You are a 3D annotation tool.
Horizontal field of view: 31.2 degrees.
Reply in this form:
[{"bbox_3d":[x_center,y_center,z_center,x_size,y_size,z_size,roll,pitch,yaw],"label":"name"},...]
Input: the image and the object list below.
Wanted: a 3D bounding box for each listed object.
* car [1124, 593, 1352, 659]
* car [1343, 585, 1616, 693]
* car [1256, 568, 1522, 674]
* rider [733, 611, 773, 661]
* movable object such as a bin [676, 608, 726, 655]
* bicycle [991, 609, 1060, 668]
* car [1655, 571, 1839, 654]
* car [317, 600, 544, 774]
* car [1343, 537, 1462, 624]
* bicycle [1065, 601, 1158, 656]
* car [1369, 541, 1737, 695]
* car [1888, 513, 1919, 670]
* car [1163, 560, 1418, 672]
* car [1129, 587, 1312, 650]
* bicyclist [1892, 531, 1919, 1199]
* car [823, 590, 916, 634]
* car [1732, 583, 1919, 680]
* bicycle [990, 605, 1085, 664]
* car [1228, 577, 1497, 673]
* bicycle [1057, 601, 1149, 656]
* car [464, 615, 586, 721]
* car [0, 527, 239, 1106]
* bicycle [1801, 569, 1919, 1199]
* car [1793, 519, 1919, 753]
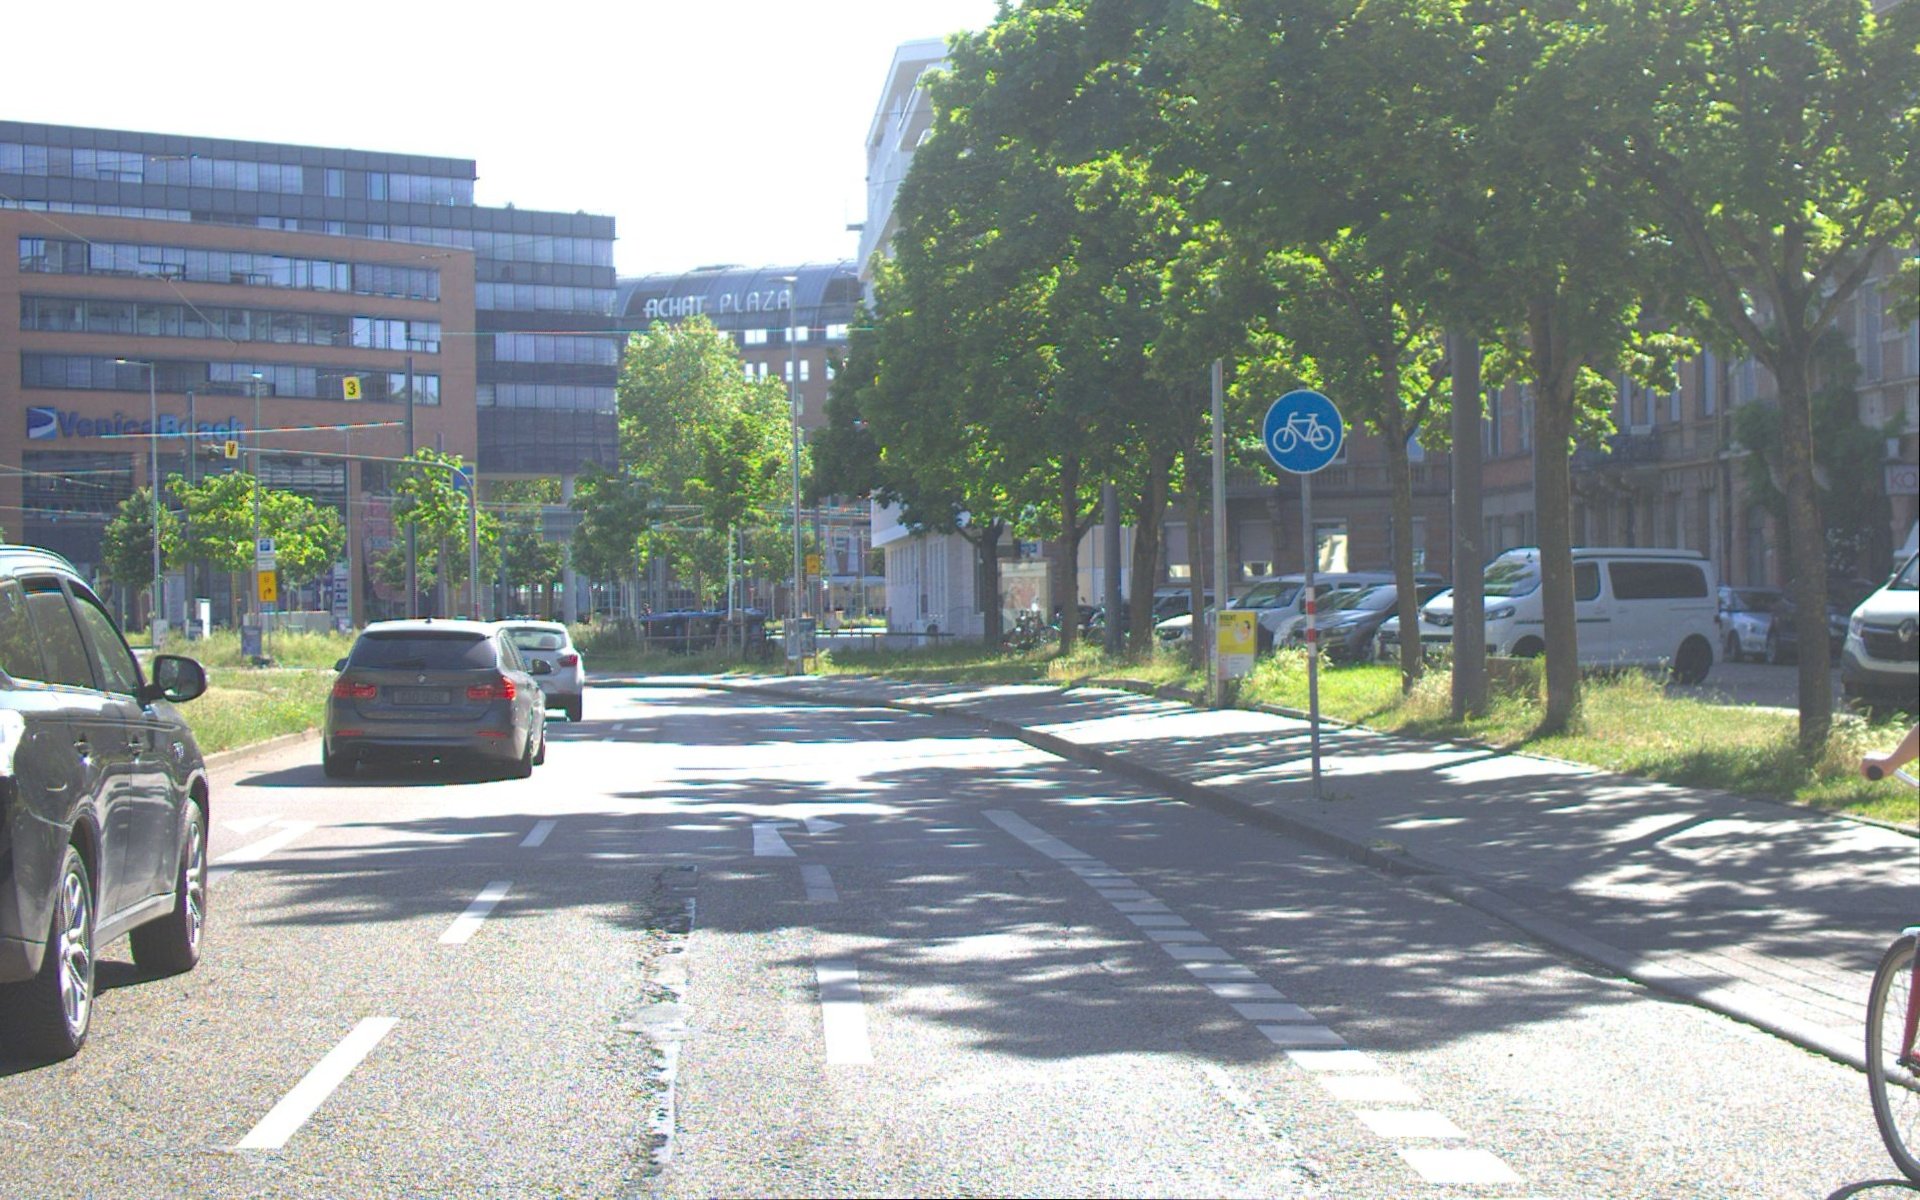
[{"bbox_3d":[6.000,0.537,73.956,4.738,1.375,2.045,0,0,-38],"label":"car"},{"bbox_3d":[7.978,0.593,52.667,4.018,1.473,1.812,-2,0,-38],"label":"car"},{"bbox_3d":[7.772,0.371,62.130,4.499,1.722,2.000,-2,0,-34],"label":"car"},{"bbox_3d":[-5.014,0.871,83.402,0.502,1.172,1.675,0,1,13],"label":"rider"},{"bbox_3d":[-7.734,0.945,102.660,1.108,1.394,1.320,0,0,16],"label":"movable object such as a bin"},{"bbox_3d":[1.477,0.860,77.382,0.769,1.285,1.594,-1,0,35],"label":"bicycle"},{"bbox_3d":[15.450,0.223,67.761,1.993,1.524,4.514,-2,1,-8],"label":"car"},{"bbox_3d":[-4.780,0.818,31.521,1.734,1.418,4.468,2,-2,-5],"label":"car"},{"bbox_3d":[12.617,-0.574,98.278,2.348,2.349,5.188,-2,1,-4],"label":"car"},{"bbox_3d":[3.393,0.644,77.219,1.944,1.176,0.900,-2,-1,-5],"label":"bicycle"},{"bbox_3d":[8.650,0.251,49.968,5.171,2.006,2.100,-2,0,-34],"label":"car"},{"bbox_3d":[16.719,-0.160,55.436,1.993,2.576,4.513,-2,1,-3],"label":"car"},{"bbox_3d":[6.581,0.304,68.165,4.866,2.006,2.100,-2,0,-38],"label":"car"},{"bbox_3d":[6.695,0.458,88.144,4.456,1.560,1.937,0,0,-36],"label":"car"},{"bbox_3d":[2.546,0.649,8.093,0.437,1.633,0.779,-1,0,-4],"label":"bicyclist"},{"bbox_3d":[-4.182,0.562,159.208,3.989,2.007,1.999,0,-1,11],"label":"car"},{"bbox_3d":[15.633,0.557,62.341,1.993,1.686,4.513,0,0,-4],"label":"car"},{"bbox_3d":[1.792,0.791,79.659,2.092,1.360,0.787,0,-1,-10],"label":"bicycle"},{"bbox_3d":[7.729,0.473,65.908,4.865,1.642,2.100,-2,0,-34],"label":"car"},{"bbox_3d":[3.253,0.652,78.135,1.957,1.188,0.841,-2,0,-5],"label":"bicycle"},{"bbox_3d":[-6.295,1.015,49.743,1.632,1.418,3.782,2,-2,-7],"label":"car"},{"bbox_3d":[-3.801,0.647,12.205,1.836,1.676,4.643,1,-1,-5],"label":"car"},{"bbox_3d":[2.544,0.741,8.247,0.437,1.633,1.939,-1,0,-4],"label":"bicycle"},{"bbox_3d":[10.154,0.245,32.109,4.866,2.068,2.020,-2,1,-39],"label":"car"}]
